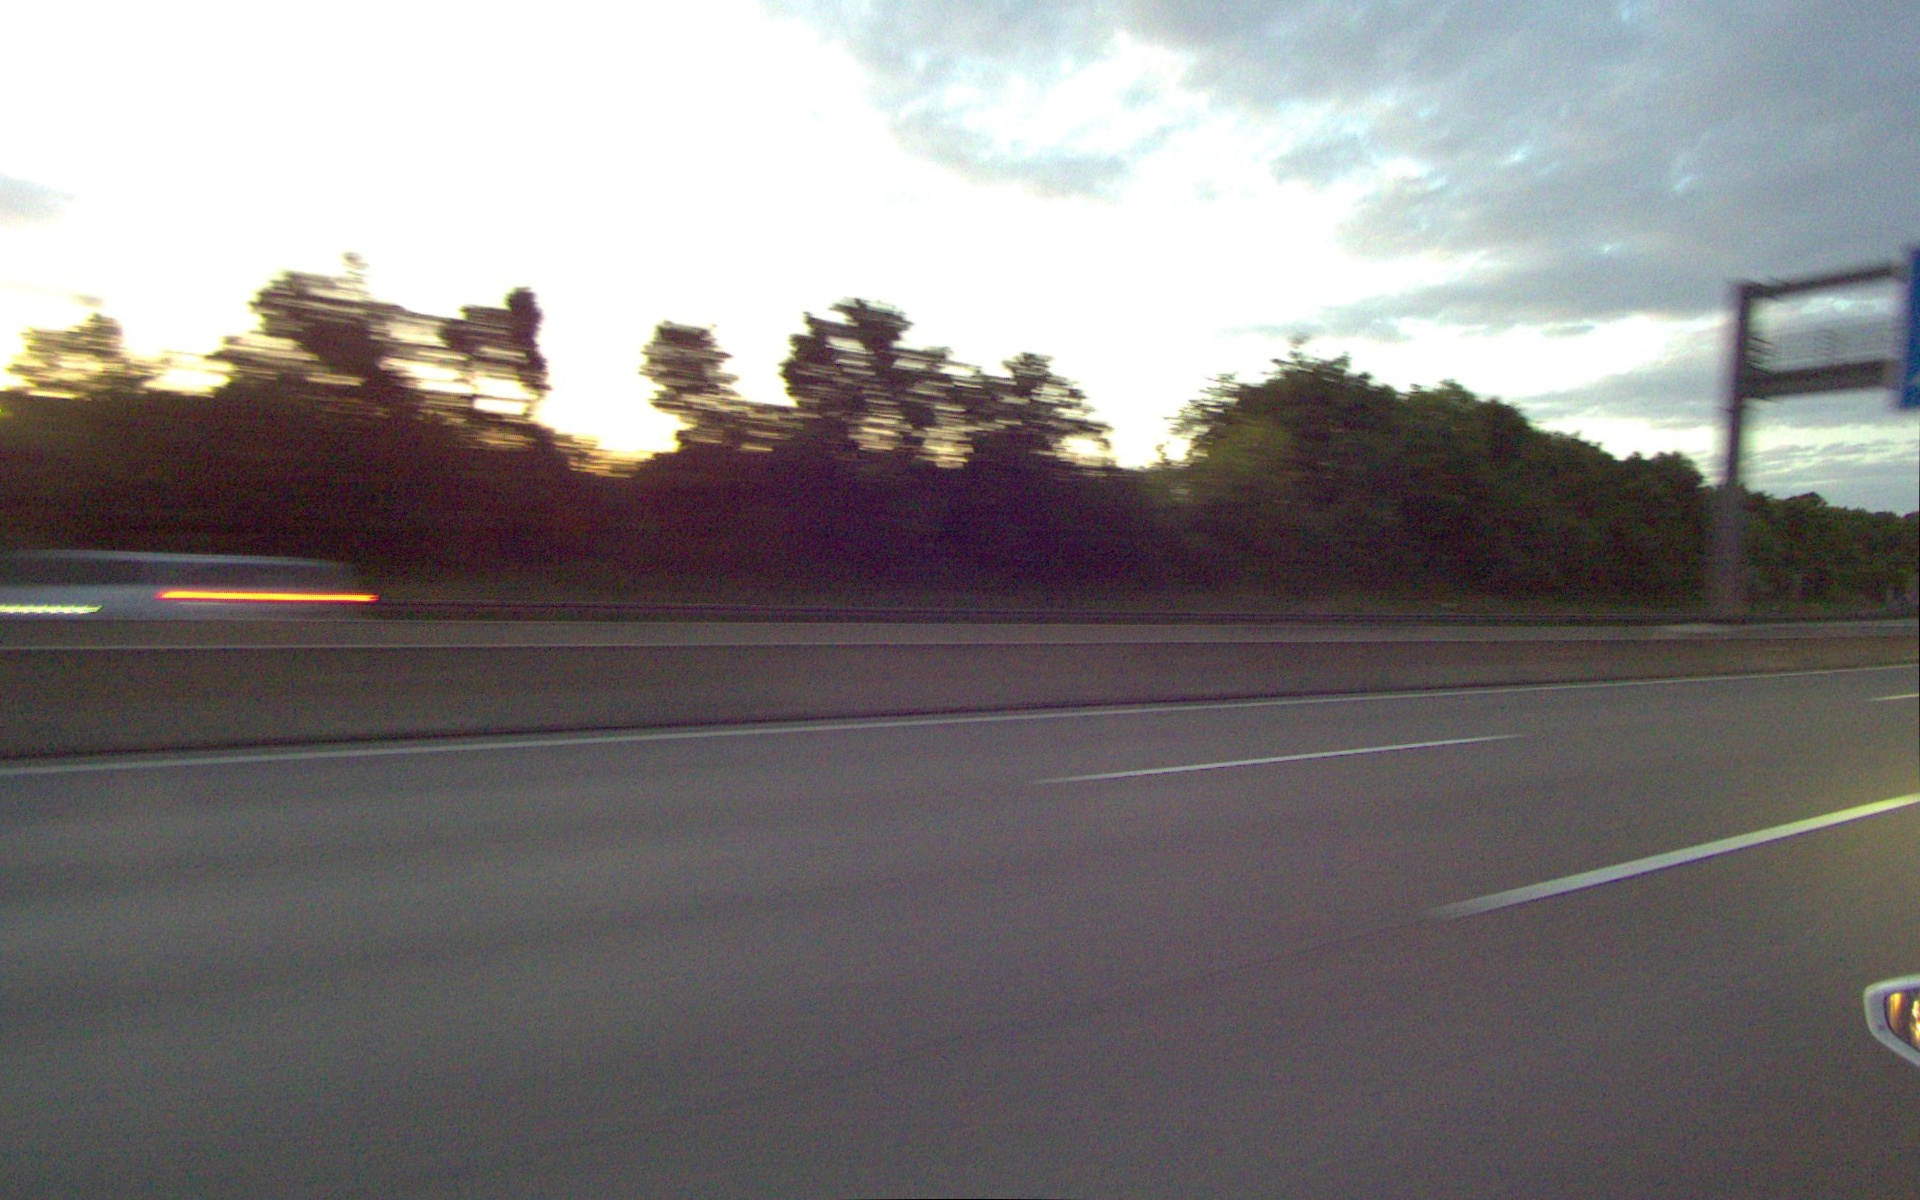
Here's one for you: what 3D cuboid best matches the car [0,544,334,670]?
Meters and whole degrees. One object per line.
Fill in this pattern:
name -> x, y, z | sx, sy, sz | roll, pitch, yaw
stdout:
car -> -13.681, 0.158, 17.511 | 4.629, 1.918, 1.982 | 3, 0, -33
